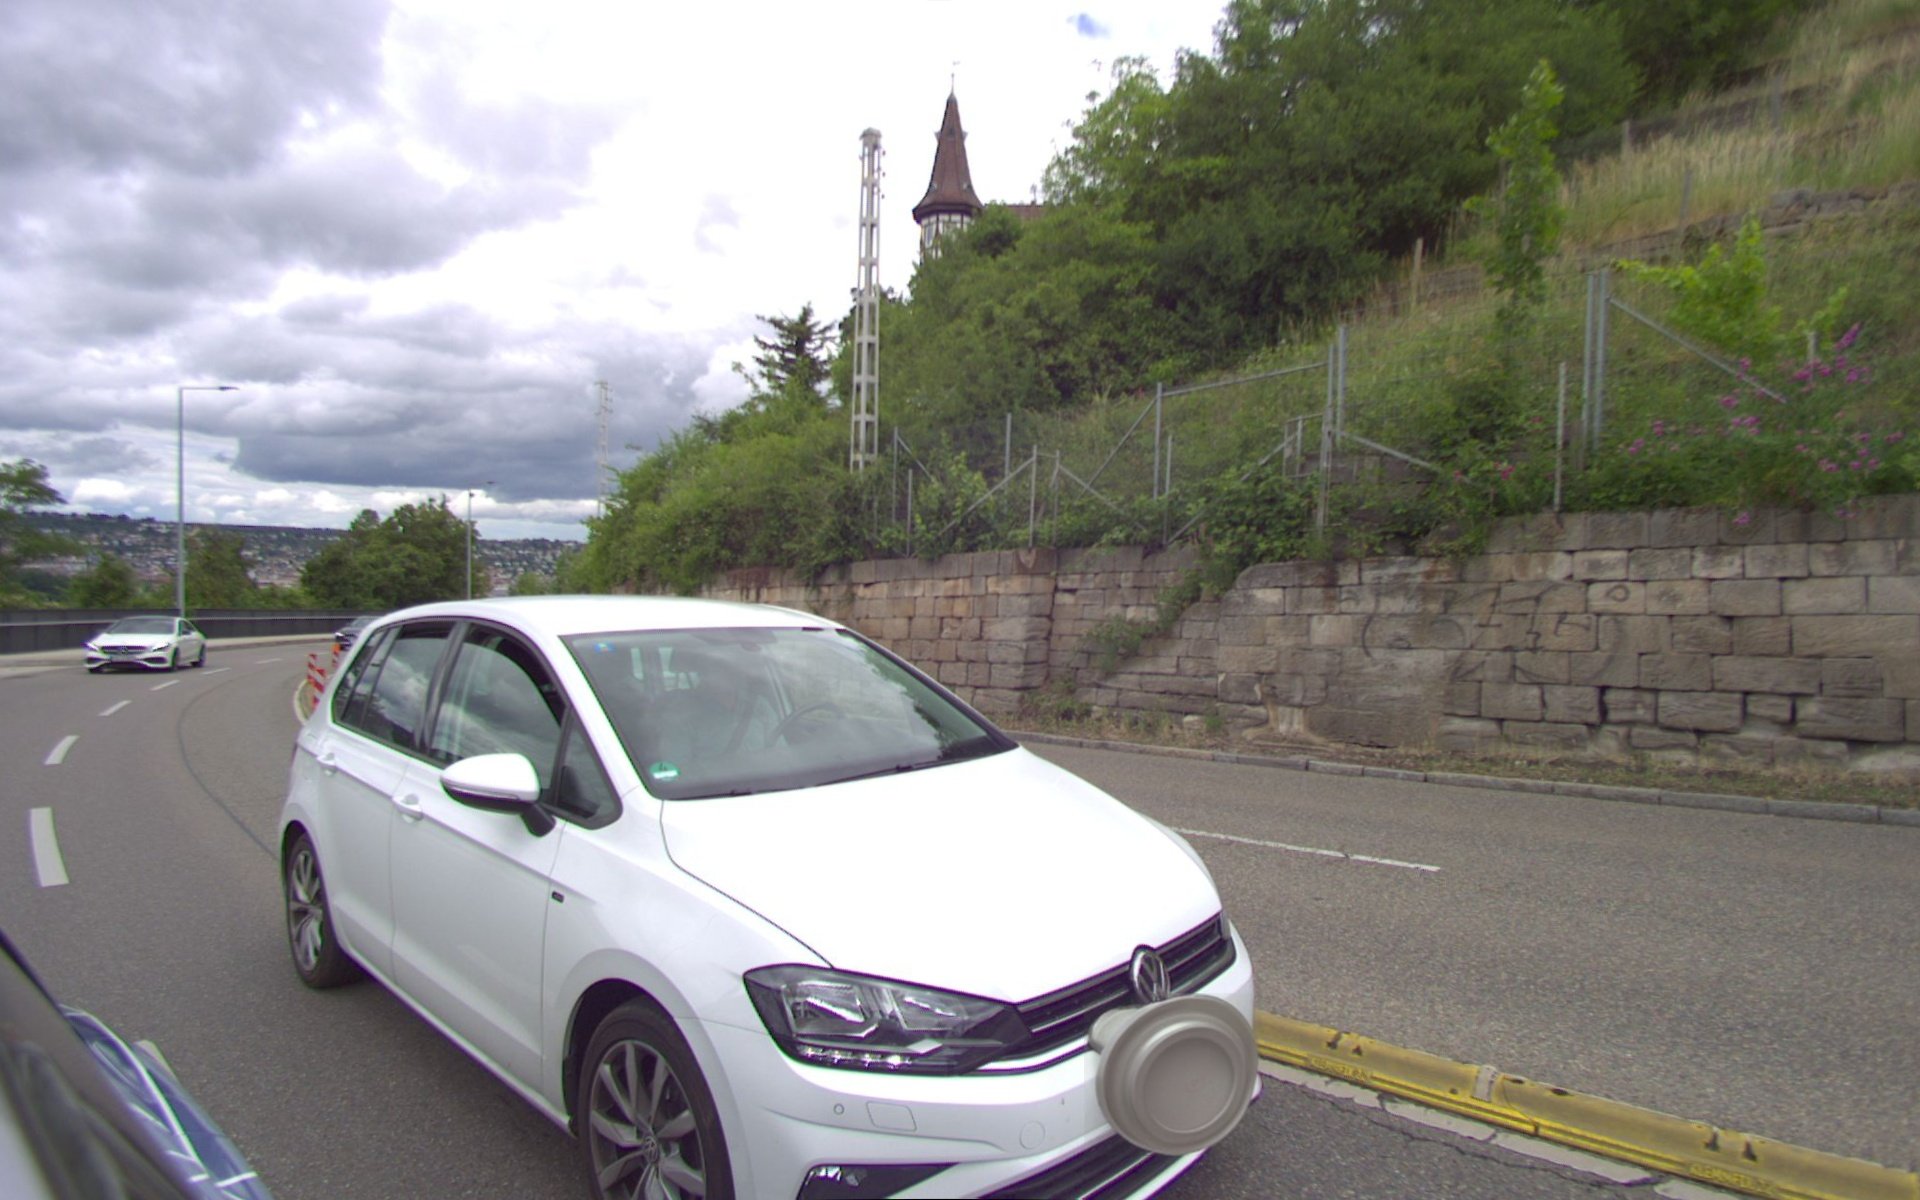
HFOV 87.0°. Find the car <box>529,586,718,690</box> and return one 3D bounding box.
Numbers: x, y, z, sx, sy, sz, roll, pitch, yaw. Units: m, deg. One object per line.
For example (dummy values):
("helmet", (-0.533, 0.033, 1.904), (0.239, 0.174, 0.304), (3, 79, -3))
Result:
("car", (-5.858, 0.595, 17.346), (1.680, 1.560, 4.007), (3, -2, -40))

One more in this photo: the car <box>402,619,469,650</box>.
("car", (-29.395, 1.908, 56.864), (1.968, 1.683, 4.545), (0, -1, -8))

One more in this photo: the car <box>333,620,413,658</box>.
("car", (-24.920, 1.634, 43.133), (1.870, 1.505, 4.152), (0, -1, -14))

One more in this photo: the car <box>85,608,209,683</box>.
("car", (-21.265, 1.121, 26.643), (1.966, 1.731, 4.012), (1, 0, -31))

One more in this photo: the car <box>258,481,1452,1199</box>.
("car", (-0.894, 0.702, 3.546), (4.358, 1.592, 1.800), (-2, -3, 45))
